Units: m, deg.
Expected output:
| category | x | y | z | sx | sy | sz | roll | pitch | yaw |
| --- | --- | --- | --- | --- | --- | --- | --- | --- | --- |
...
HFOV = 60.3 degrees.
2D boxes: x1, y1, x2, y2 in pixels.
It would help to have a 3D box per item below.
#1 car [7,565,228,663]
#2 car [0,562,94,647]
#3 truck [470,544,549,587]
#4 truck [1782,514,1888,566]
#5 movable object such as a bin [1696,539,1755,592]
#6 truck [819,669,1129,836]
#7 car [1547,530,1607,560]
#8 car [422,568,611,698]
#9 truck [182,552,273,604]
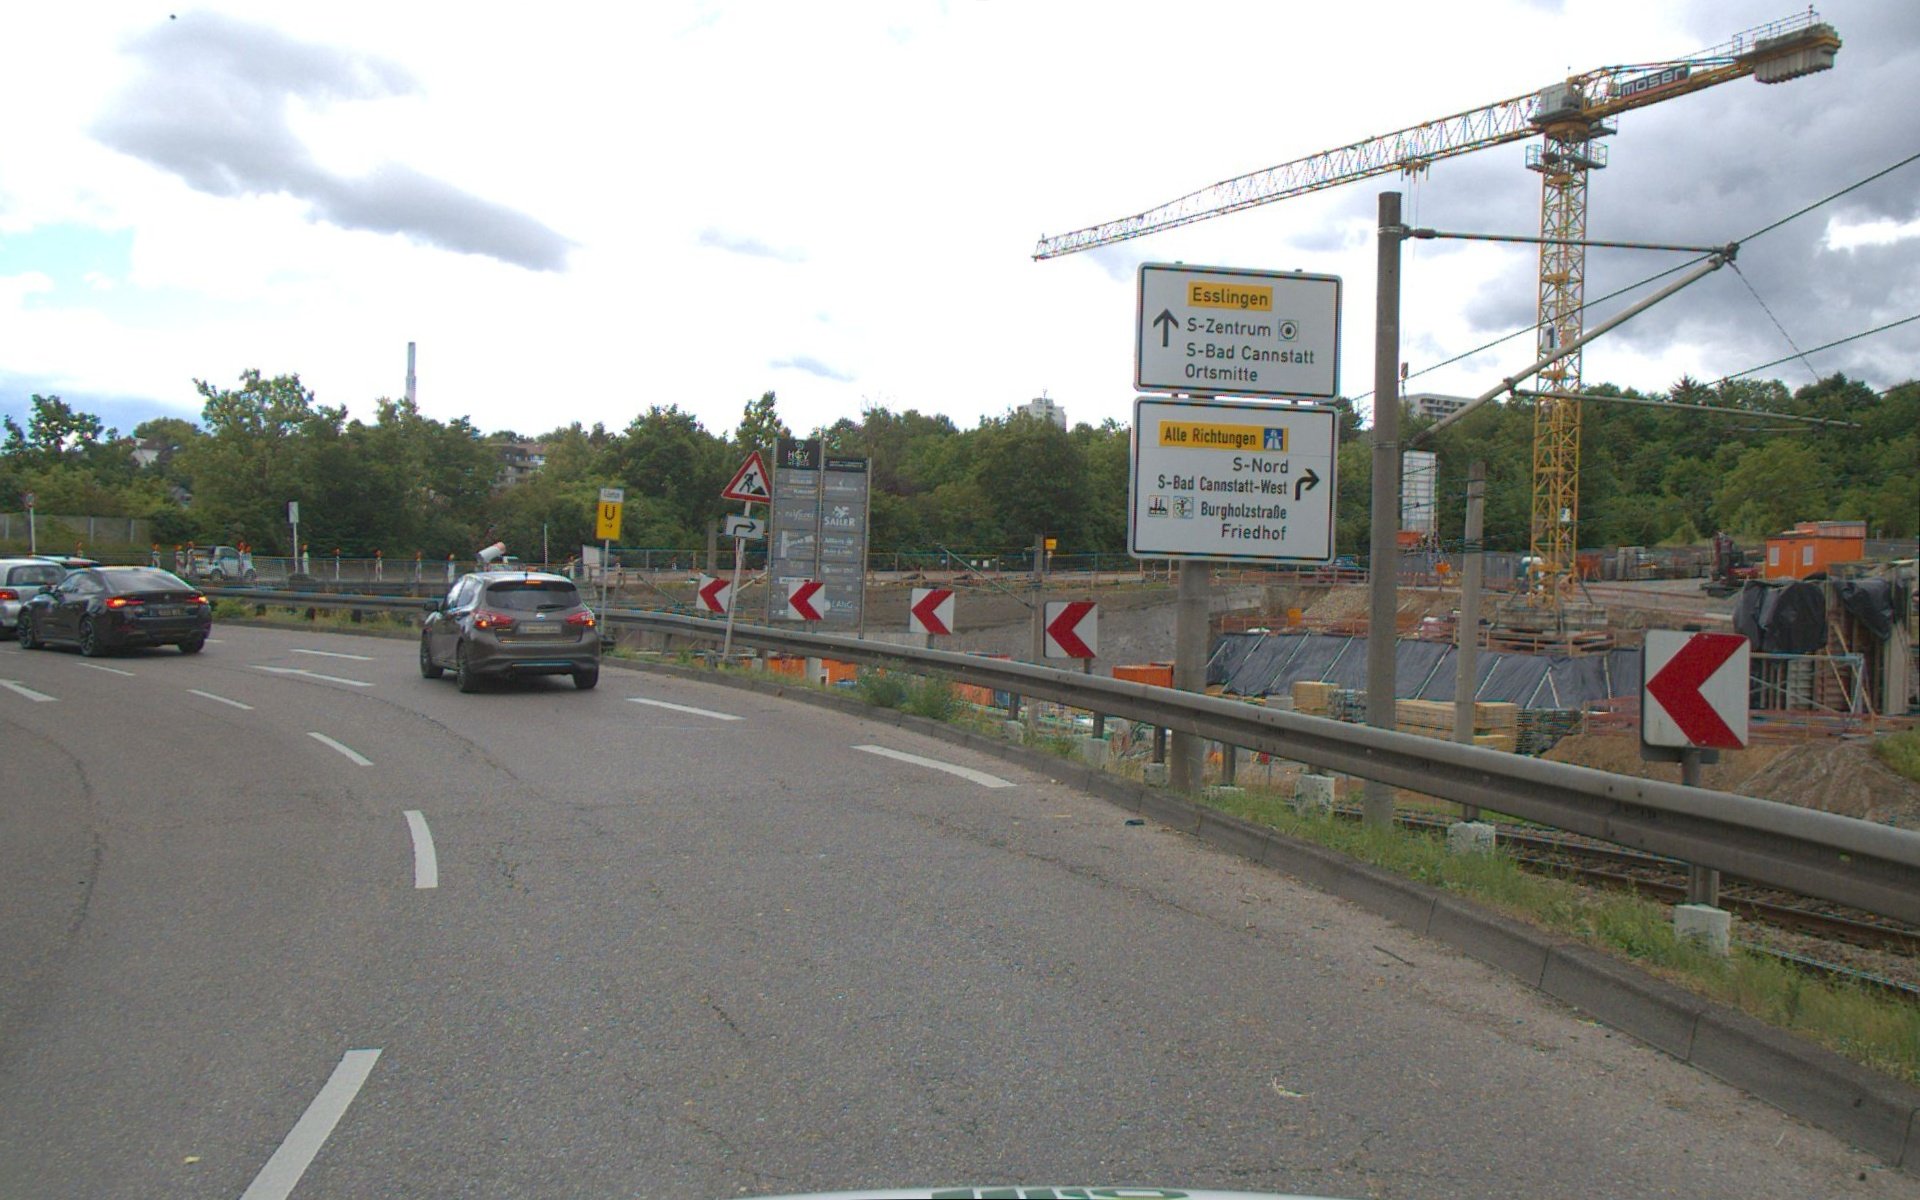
| category | x | y | z | sx | sy | sz | roll | pitch | yaw |
| --- | --- | --- | --- | --- | --- | --- | --- | --- | --- |
| car | -14.892 | 0.172 | 29.104 | 4.876 | 1.502 | 1.868 | 2 | 3 | 42 |
| car | -18.886 | 0.039 | 32.664 | 3.554 | 1.495 | 1.669 | 2 | 4 | 34 |
| truck | -24.022 | -1.833 | 88.357 | 1.953 | 2.049 | 3.999 | 2 | -1 | 22 |
| truck | 76.528 | -5.222 | 144.545 | 9.640 | 4.294 | 3.095 | 0 | 1 | -26 |
| movable object such as a bin | 46.659 | -2.084 | 100.798 | 1.810 | 3.131 | 2.780 | 1 | 0 | -24 |
| truck | 0.168 | 4.702 | 53.714 | 2.825 | 3.960 | 11.436 | 1 | 2 | -44 |
| car | 46.108 | -4.109 | 123.596 | 3.929 | 2.049 | 1.988 | 1 | 0 | -21 |
| car | -6.159 | 0.366 | 22.685 | 1.776 | 1.579 | 3.966 | 0 | 2 | -26 |
| truck | -31.984 | -0.931 | 72.296 | 1.701 | 2.049 | 3.223 | 2 | -1 | 27 |
